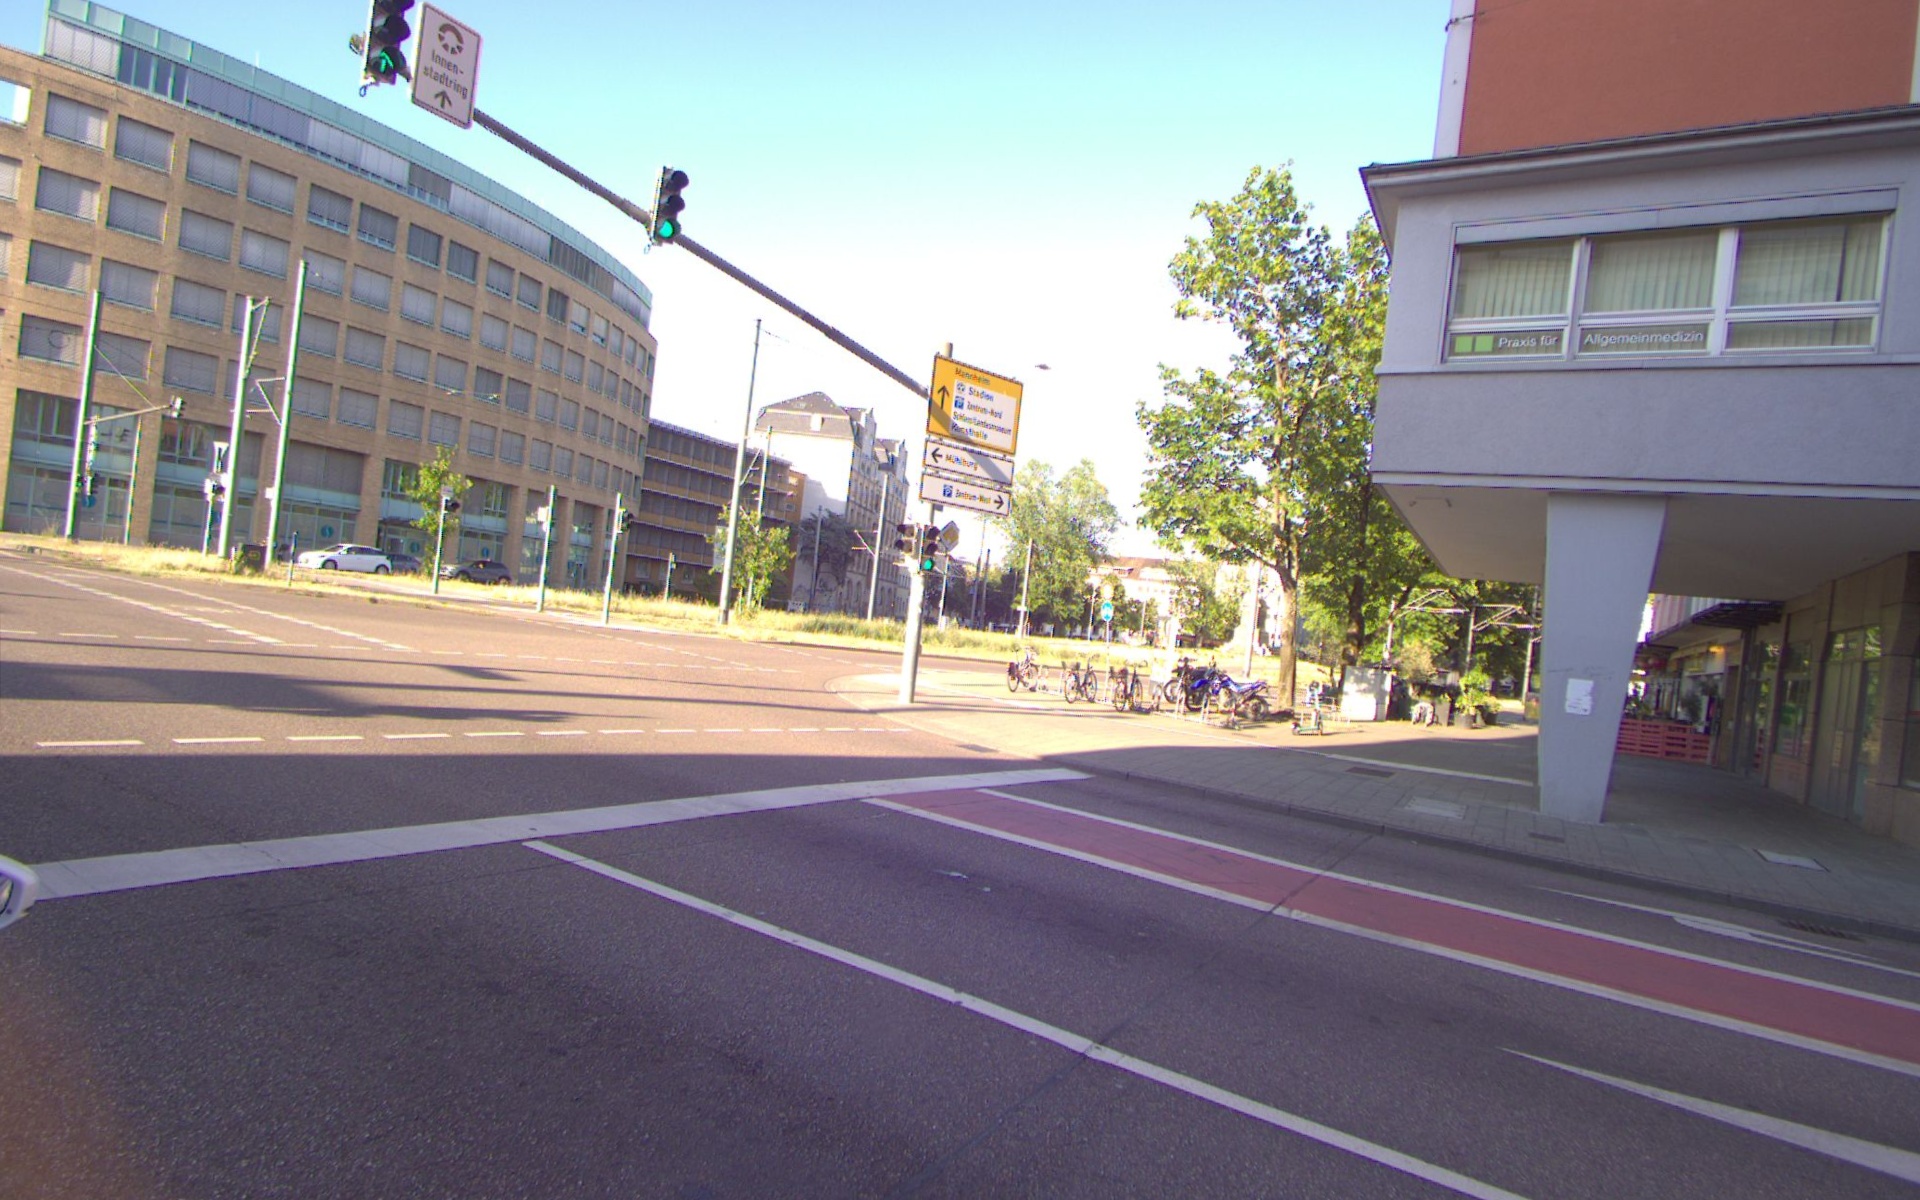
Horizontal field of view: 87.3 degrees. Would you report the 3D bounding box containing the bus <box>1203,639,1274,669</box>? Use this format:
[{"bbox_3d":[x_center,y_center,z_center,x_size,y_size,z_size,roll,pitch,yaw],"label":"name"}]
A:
[{"bbox_3d":[41.875,8.129,151.240,10.927,3.248,2.342,7,-1,-21],"label":"bus"}]

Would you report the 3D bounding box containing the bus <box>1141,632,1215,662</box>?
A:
[{"bbox_3d":[31.870,6.854,147.032,10.972,3.248,2.398,7,-1,-24],"label":"bus"}]

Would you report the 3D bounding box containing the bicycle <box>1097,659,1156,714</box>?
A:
[{"bbox_3d":[3.854,1.964,23.154,0.583,1.129,2.058,7,1,28],"label":"bicycle"}]

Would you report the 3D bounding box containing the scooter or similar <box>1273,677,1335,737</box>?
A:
[{"bbox_3d":[7.751,2.413,22.667,1.549,1.251,0.479,6,1,-40],"label":"scooter or similar"}]

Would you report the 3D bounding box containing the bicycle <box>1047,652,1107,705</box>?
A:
[{"bbox_3d":[2.783,1.827,23.772,0.584,1.129,2.003,7,1,29],"label":"bicycle"}]

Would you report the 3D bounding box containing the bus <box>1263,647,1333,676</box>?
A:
[{"bbox_3d":[52.117,9.424,155.054,10.917,3.248,2.344,7,-1,-18],"label":"bus"}]

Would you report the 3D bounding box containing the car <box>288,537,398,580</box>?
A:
[{"bbox_3d":[-30.557,-2.028,49.946,1.961,1.509,4.171,6,-1,29],"label":"car"}]

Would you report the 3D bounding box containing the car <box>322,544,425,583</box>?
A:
[{"bbox_3d":[-32.673,-2.017,56.154,1.953,1.555,4.488,6,-1,32],"label":"car"}]

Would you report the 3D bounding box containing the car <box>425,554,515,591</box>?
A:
[{"bbox_3d":[-27.130,-1.483,55.821,1.790,1.509,4.058,6,-1,30],"label":"car"}]

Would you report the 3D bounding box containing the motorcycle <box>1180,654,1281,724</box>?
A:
[{"bbox_3d":[6.758,2.209,25.134,2.224,1.409,0.844,7,-1,19],"label":"motorcycle"}]

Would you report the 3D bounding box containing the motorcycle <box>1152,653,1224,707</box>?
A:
[{"bbox_3d":[6.352,2.232,27.935,2.044,1.324,0.880,7,-1,-44],"label":"motorcycle"}]

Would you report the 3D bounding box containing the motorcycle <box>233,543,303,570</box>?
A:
[{"bbox_3d":[-35.407,-2.220,51.503,1.014,0.975,2.722,6,-1,30],"label":"motorcycle"}]

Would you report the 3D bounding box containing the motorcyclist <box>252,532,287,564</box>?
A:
[{"bbox_3d":[-35.354,-2.643,51.515,1.014,1.453,1.067,6,0,31],"label":"motorcyclist"}]

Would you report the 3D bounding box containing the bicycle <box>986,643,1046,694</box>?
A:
[{"bbox_3d":[1.392,1.651,24.596,0.584,1.129,1.974,7,1,29],"label":"bicycle"}]
